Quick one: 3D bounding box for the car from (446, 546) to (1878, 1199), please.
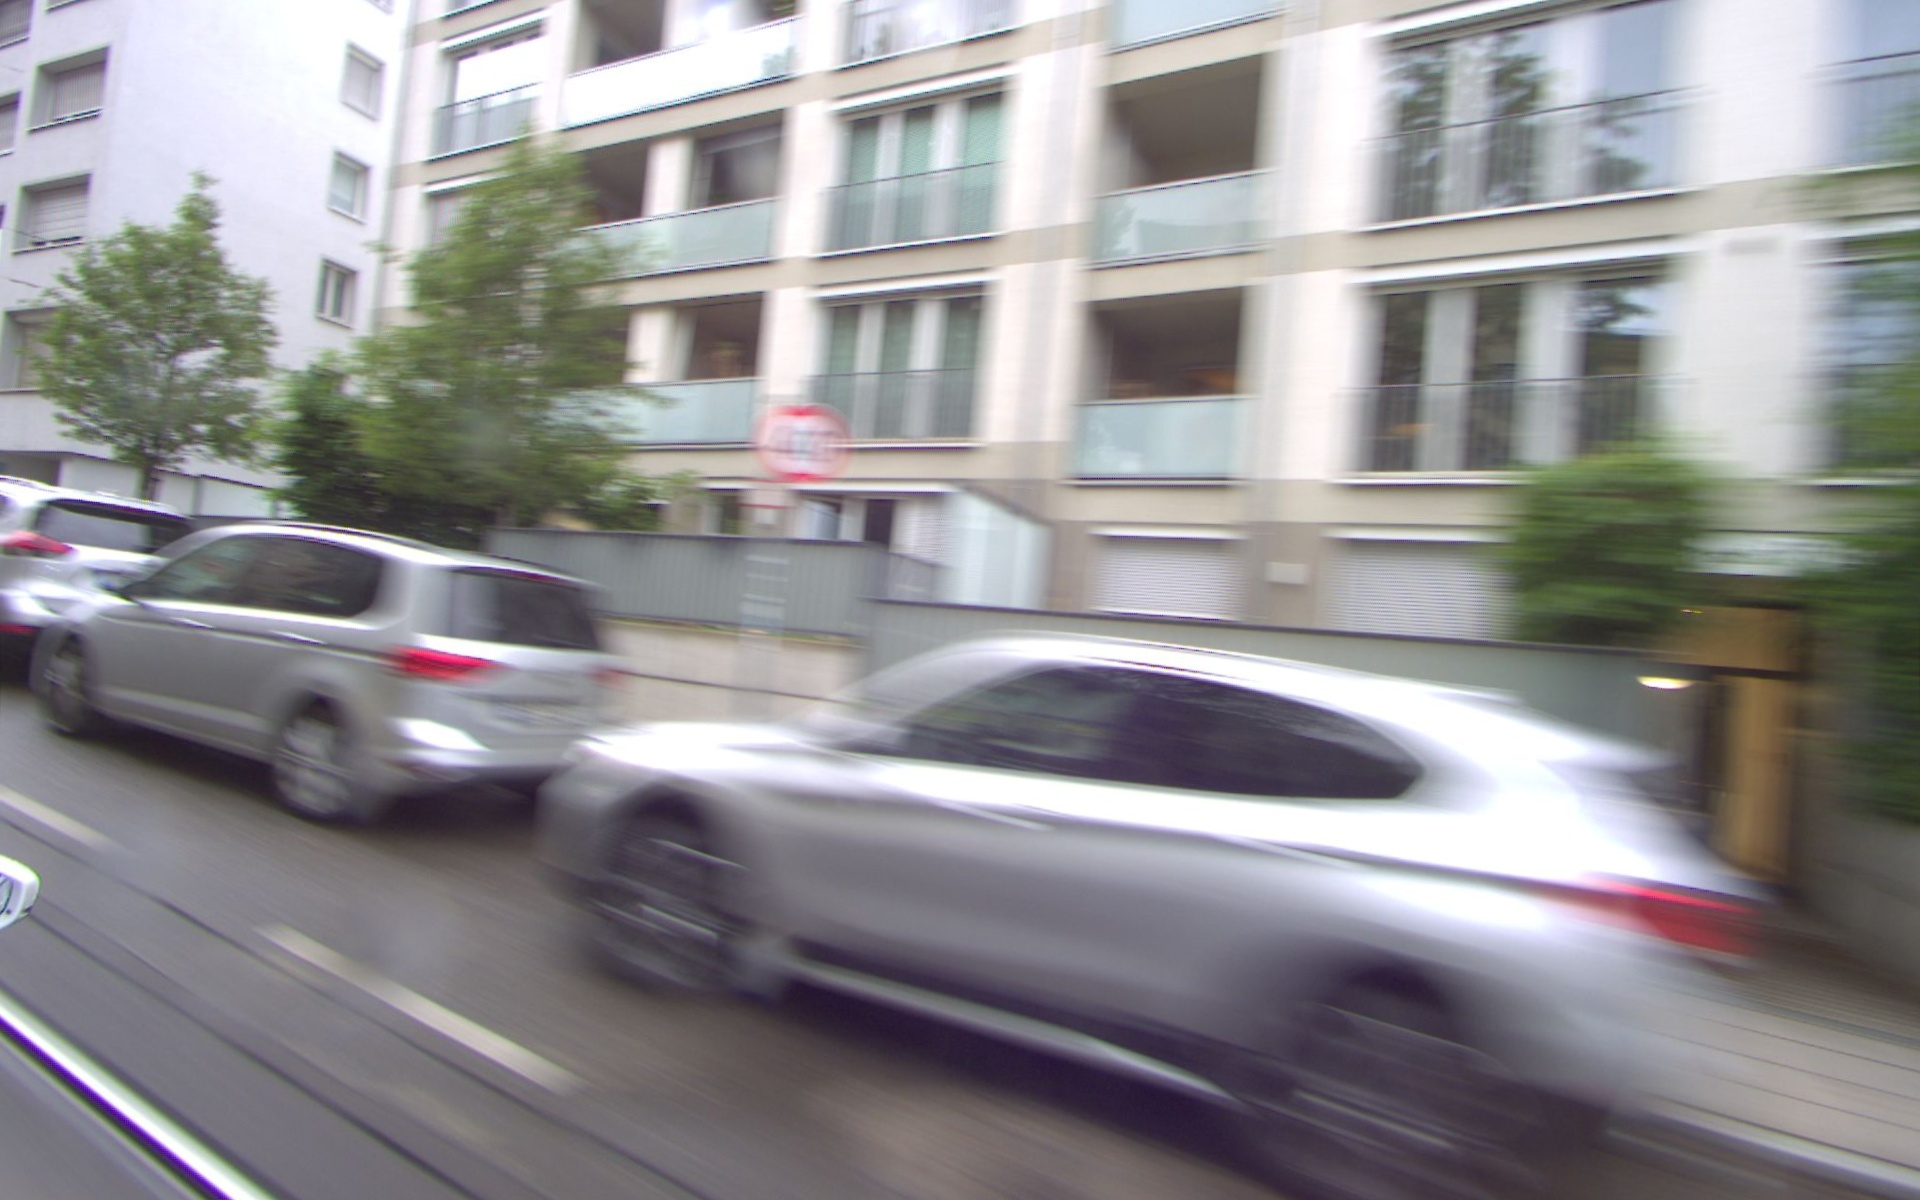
[{"bbox_3d":[0.415,0.936,4.186,4.483,1.602,1.983,7,-2,23],"label":"car"}]

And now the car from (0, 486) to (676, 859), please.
[{"bbox_3d":[-4.488,0.356,7.042,4.581,1.646,1.838,7,-2,26],"label":"car"}]

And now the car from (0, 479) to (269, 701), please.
[{"bbox_3d":[-9.068,-0.242,9.687,4.604,1.674,1.839,7,-3,27],"label":"car"}]
